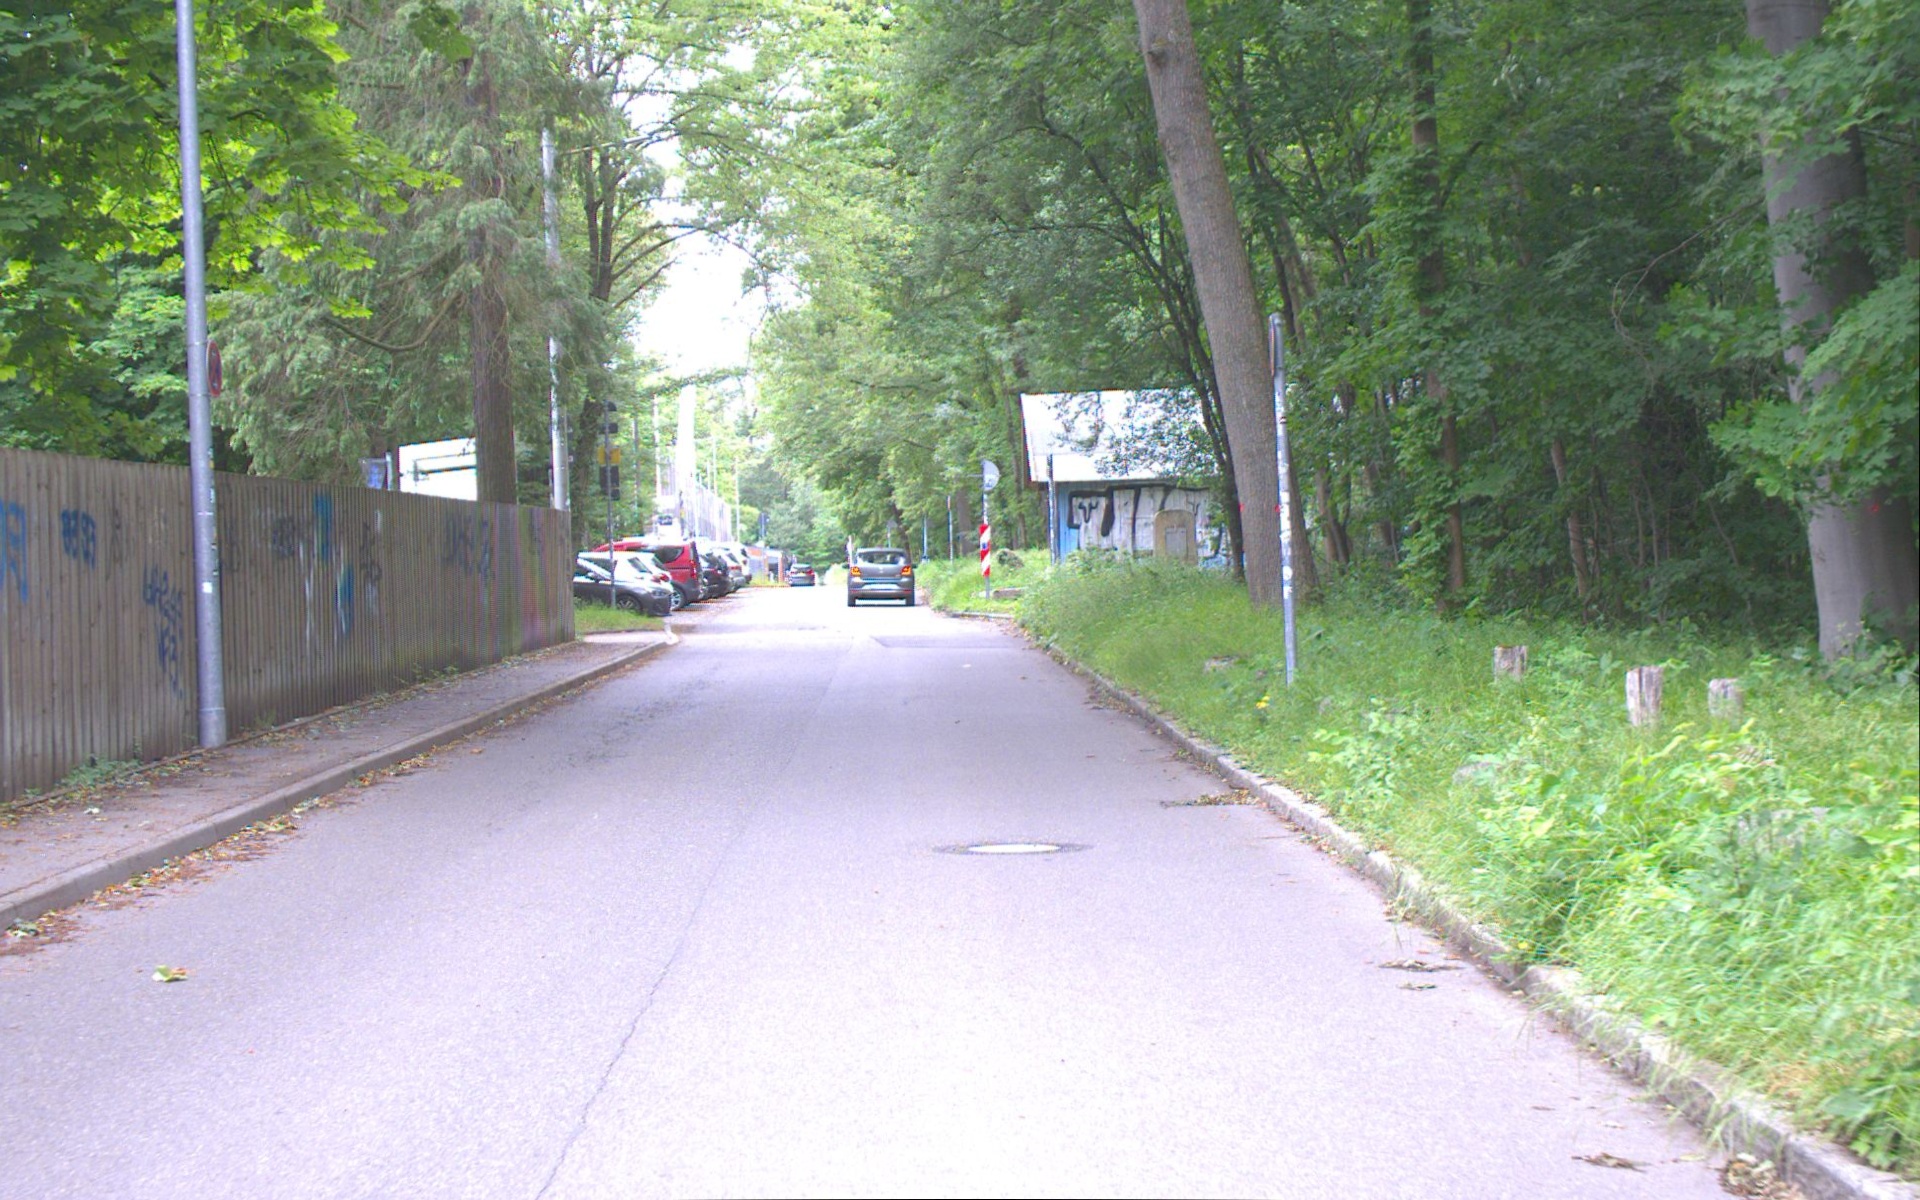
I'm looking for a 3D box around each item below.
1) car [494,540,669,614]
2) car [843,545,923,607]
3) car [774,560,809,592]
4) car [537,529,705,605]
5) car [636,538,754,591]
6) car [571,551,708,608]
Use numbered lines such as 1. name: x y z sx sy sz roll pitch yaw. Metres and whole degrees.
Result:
1. car: -8.866 -0.555 80.785 3.986 1.568 2.000 -2 1 -5
2. car: -1.884 -0.596 85.384 1.908 1.503 4.000 0 0 0
3. car: -11.204 -1.616 228.291 1.993 2.007 4.001 -3 1 -7
4. car: -8.450 -0.827 86.001 3.987 1.744 2.000 -2 1 -1
5. car: -9.300 -1.245 120.818 3.987 1.590 1.765 -4 0 -1
6. car: -8.757 -0.569 94.114 3.572 1.402 1.650 -2 0 -1
